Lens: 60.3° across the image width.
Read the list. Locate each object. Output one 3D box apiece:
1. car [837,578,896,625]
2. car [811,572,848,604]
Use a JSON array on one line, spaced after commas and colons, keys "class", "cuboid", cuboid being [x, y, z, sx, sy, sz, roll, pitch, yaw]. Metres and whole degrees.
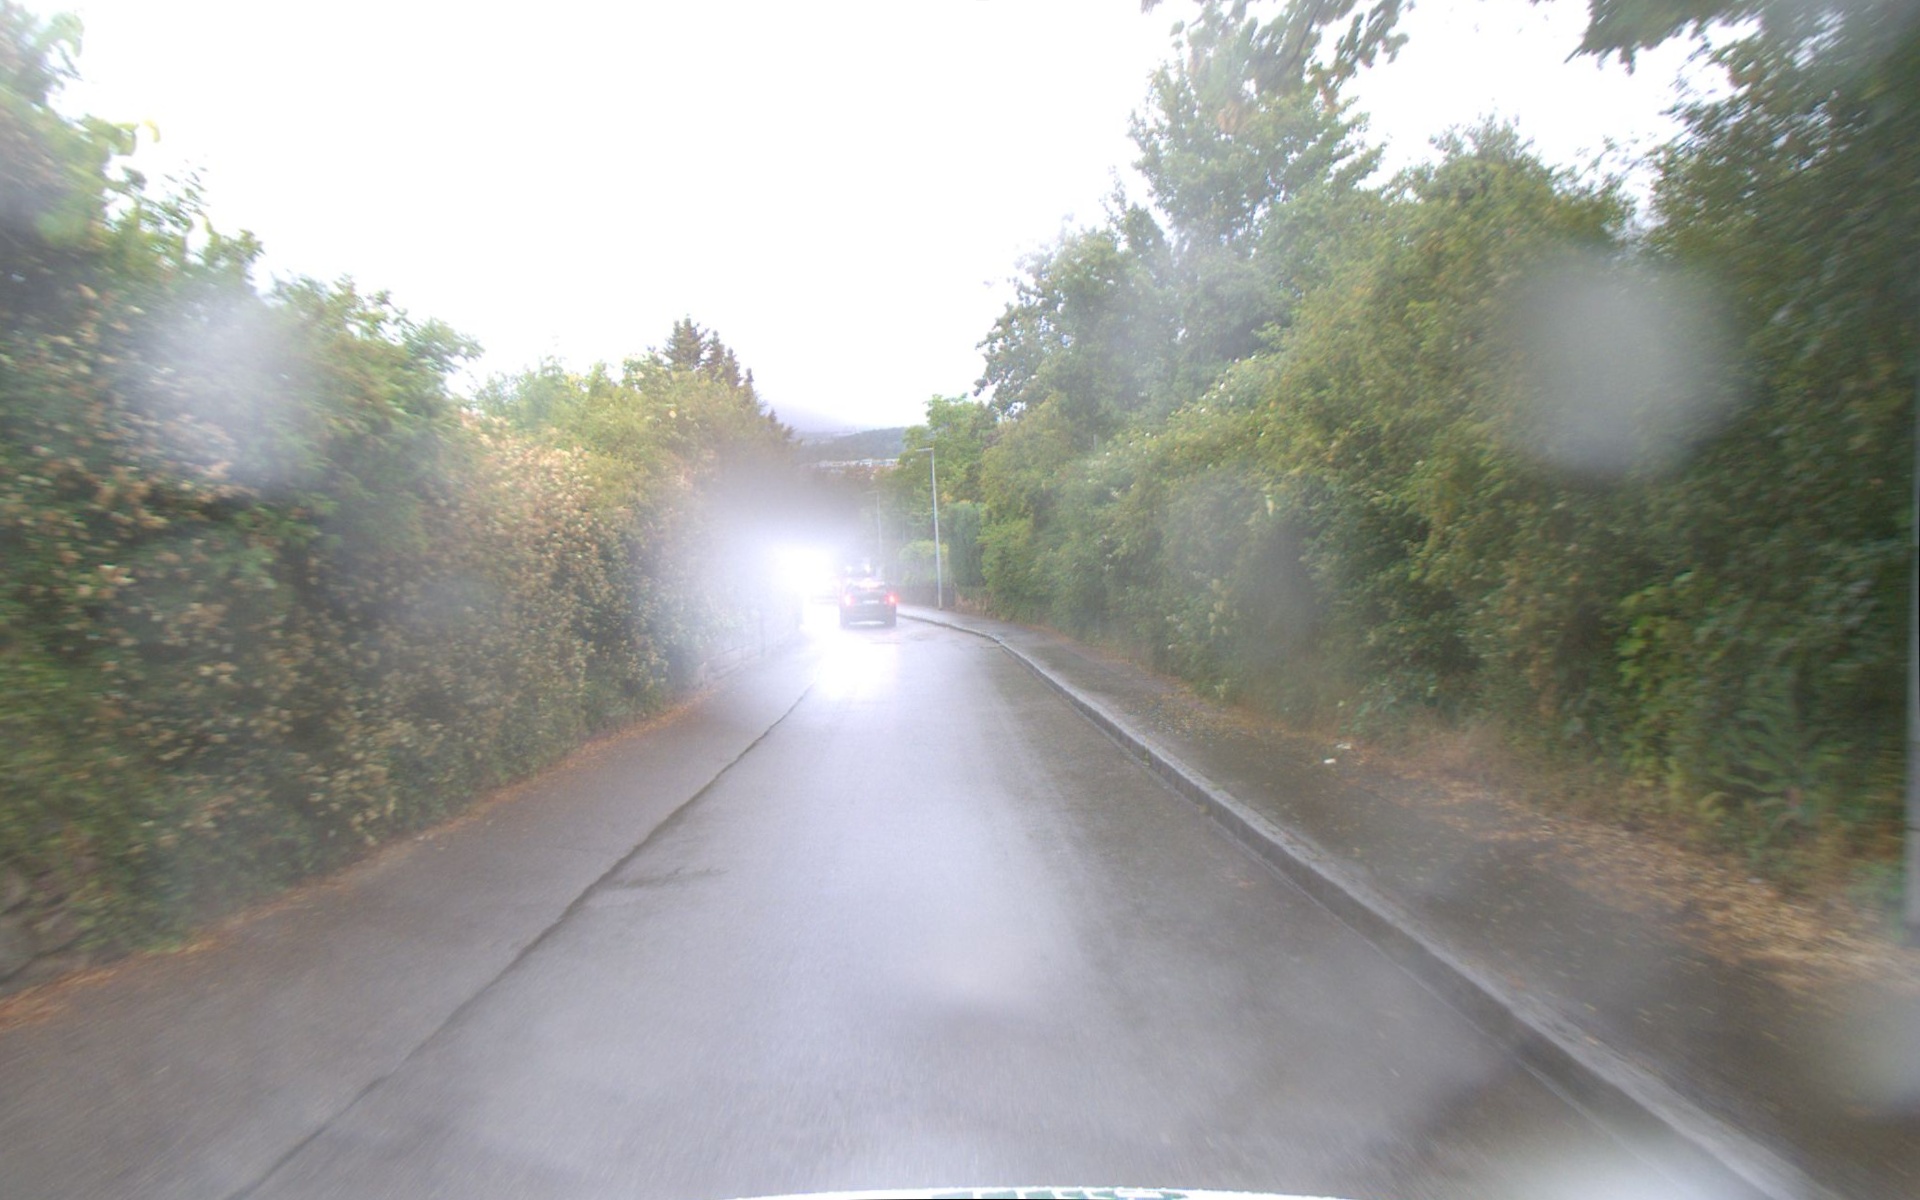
[{"class": "car", "cuboid": [-3.093, 0.014, 54.211, 1.799, 1.489, 3.996, 0, 1, -5]}, {"class": "car", "cuboid": [-7.046, -0.655, 89.372, 1.643, 1.592, 3.795, 0, 3, 1]}]
